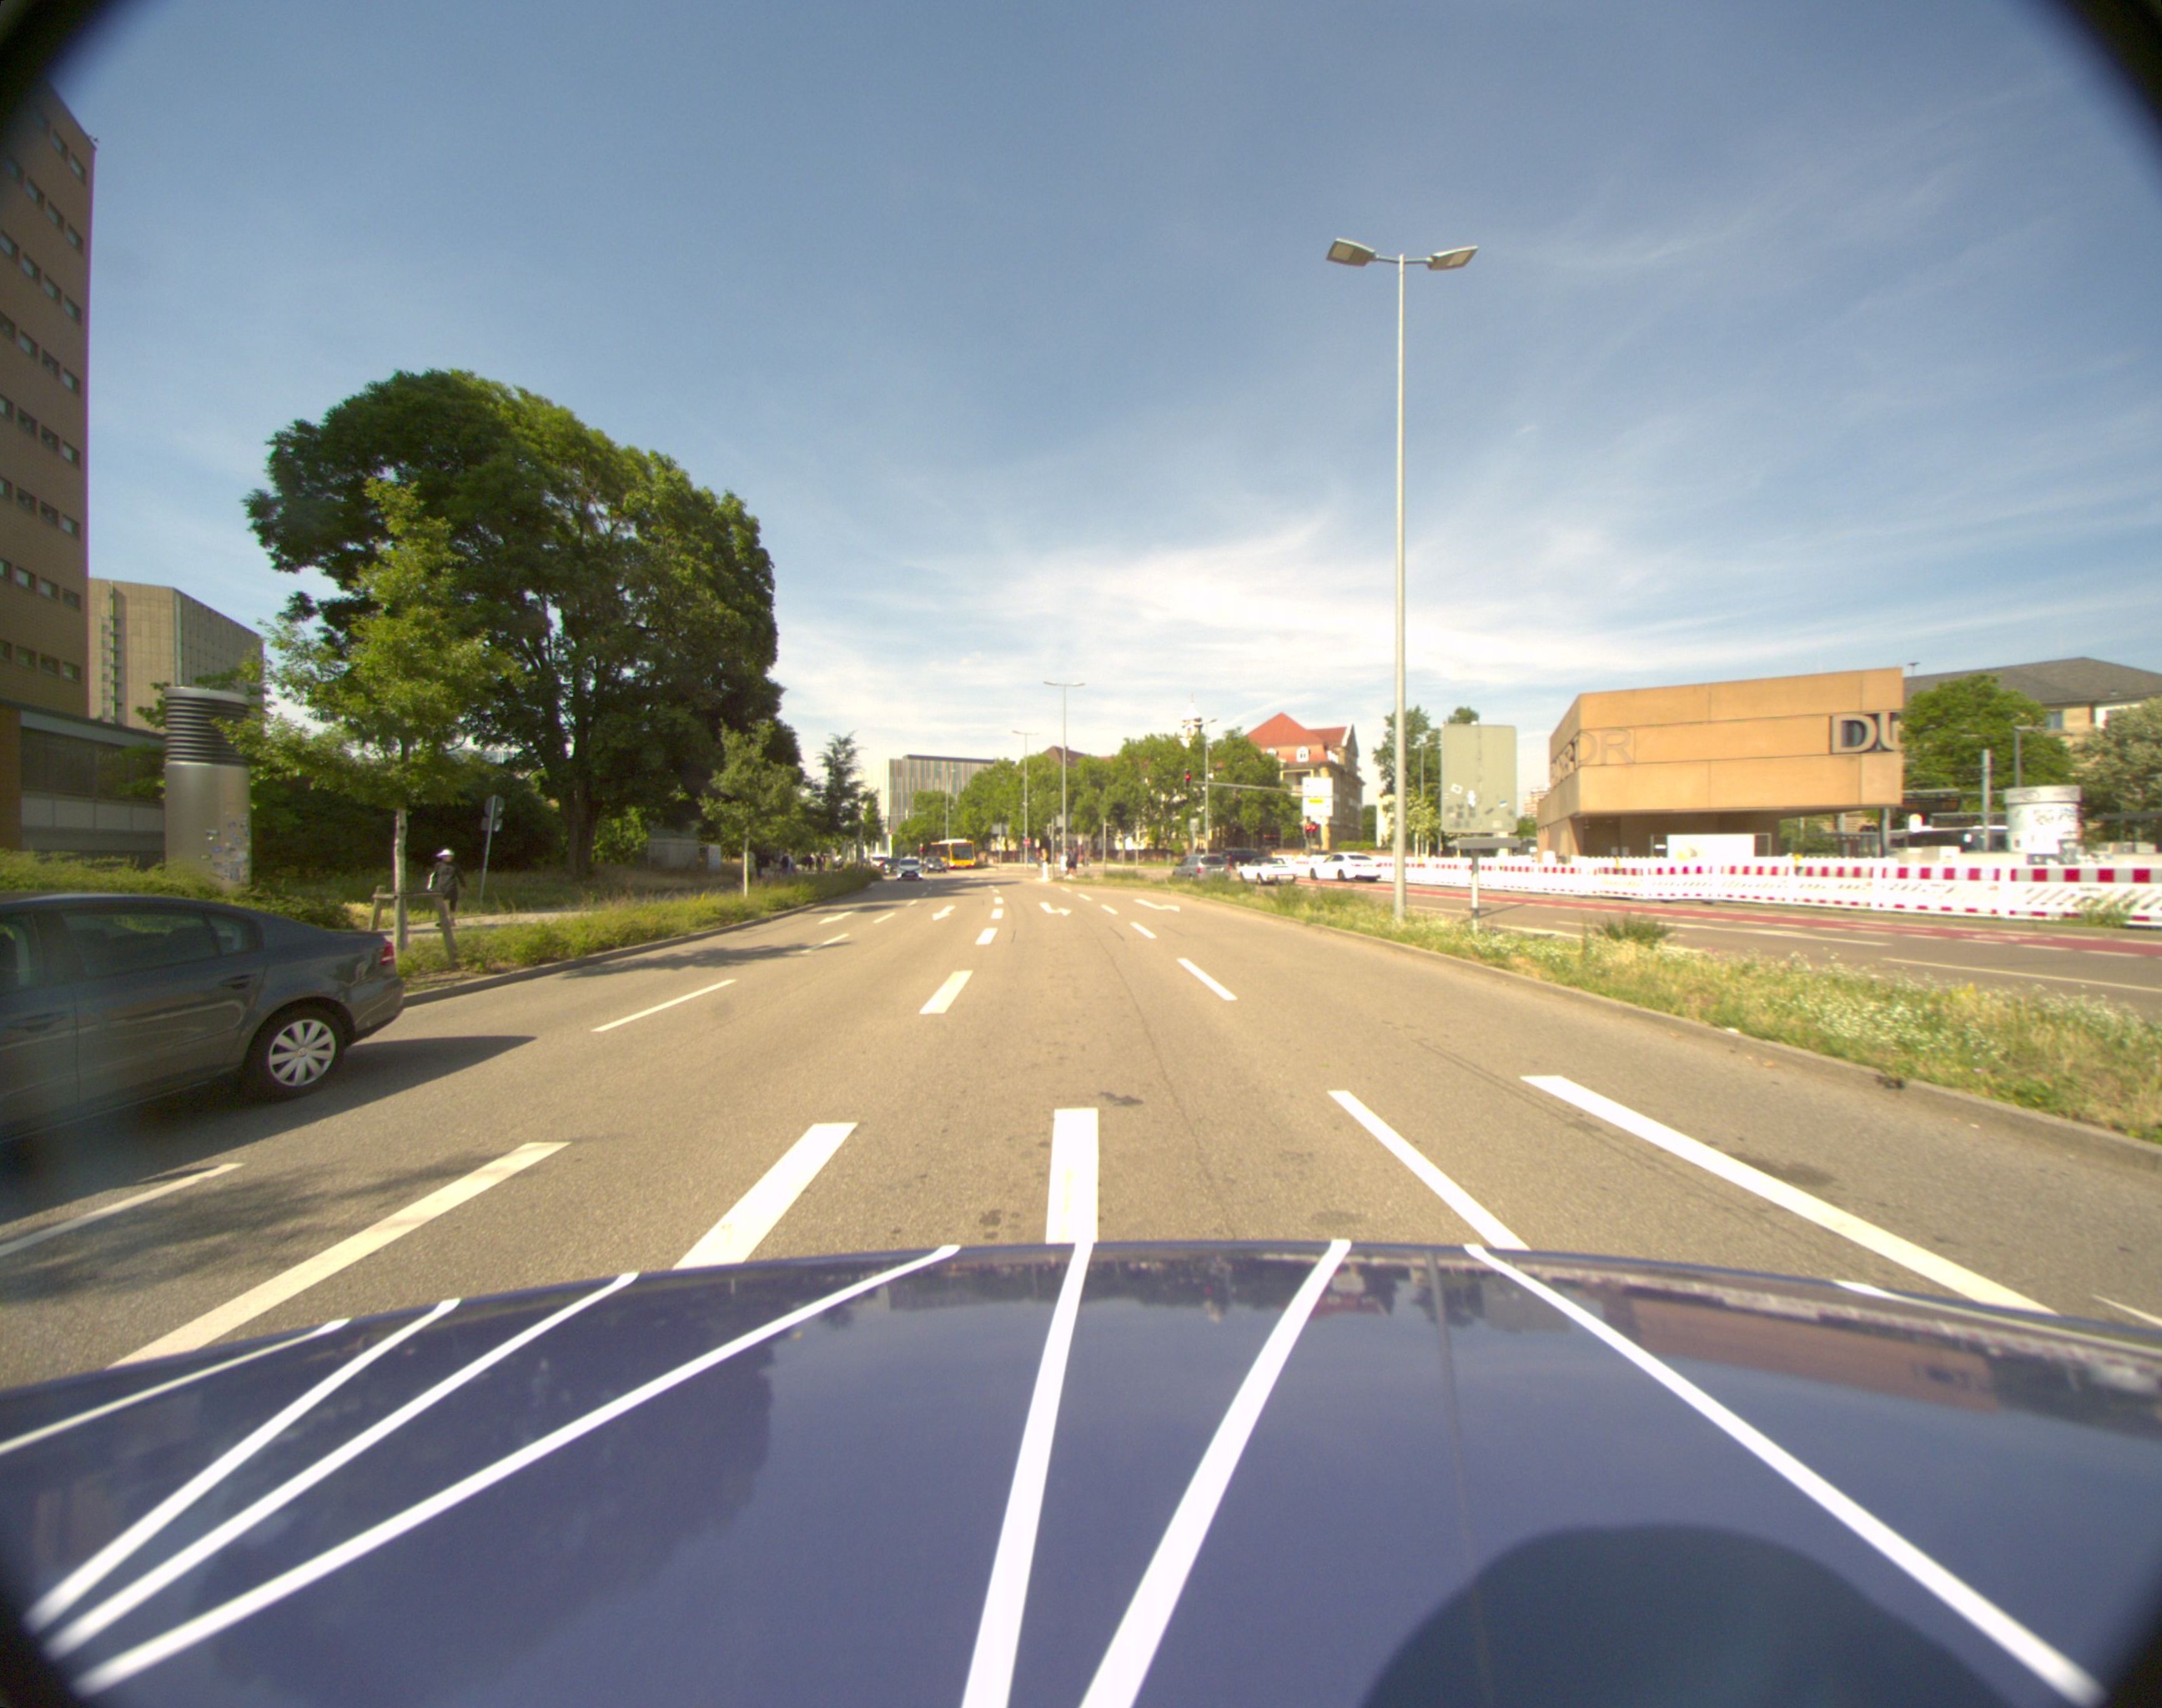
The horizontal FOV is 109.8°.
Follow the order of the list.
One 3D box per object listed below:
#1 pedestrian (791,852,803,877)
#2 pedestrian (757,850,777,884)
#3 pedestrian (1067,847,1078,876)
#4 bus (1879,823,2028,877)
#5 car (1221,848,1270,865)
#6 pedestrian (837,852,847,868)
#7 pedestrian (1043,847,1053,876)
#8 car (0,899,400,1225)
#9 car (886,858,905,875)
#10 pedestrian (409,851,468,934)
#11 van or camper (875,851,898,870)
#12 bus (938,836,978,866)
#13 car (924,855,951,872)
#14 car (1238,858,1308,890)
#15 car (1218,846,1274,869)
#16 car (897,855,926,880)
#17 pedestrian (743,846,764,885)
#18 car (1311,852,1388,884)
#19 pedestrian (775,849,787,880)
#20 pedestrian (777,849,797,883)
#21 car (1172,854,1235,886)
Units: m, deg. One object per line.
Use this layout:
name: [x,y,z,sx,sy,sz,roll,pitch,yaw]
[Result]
pedestrian: [-16.410,0.598,43.928,0.644,1.438,0.568,1,1,-20]
pedestrian: [-15.143,0.635,36.704,0.643,1.617,0.731,1,1,1]
pedestrian: [-0.500,0.444,44.474,0.643,1.664,0.752,0,1,0]
bus: [59.508,-0.241,52.327,2.751,3.303,11.811,0,0,28]
car: [14.964,0.211,69.084,4.118,1.435,1.756,-3,1,-24]
pedestrian: [-16.995,0.433,54.067,0.644,1.125,0.751,1,1,-15]
pedestrian: [-1.896,0.412,44.000,0.541,1.664,0.752,0,1,1]
car: [-6.067,1.102,3.572,1.635,1.427,4.527,-1,1,-1]
car: [-15.559,1.028,63.722,1.411,1.287,3.576,0,0,-16]
pedestrian: [-13.314,0.777,15.752,0.592,1.654,0.731,1,1,1]
van or camper: [-19.961,0.642,77.815,1.732,1.877,4.914,-3,1,-20]
bus: [-13.445,-0.280,82.154,2.799,3.020,12.131,0,0,-17]
car: [-13.074,0.873,69.117,1.653,1.416,4.113,-3,1,-21]
car: [8.766,0.858,35.021,1.600,1.279,3.996,-2,1,-10]
car: [13.529,0.265,62.227,4.117,1.719,1.756,-2,1,-21]
car: [-11.181,0.868,49.932,1.683,1.466,3.755,-2,1,-14]
pedestrian: [-15.819,0.557,36.706,0.643,1.827,0.731,1,1,1]
car: [13.085,0.659,37.277,1.804,1.412,3.996,-2,1,-10]
pedestrian: [-17.218,0.620,43.602,0.644,1.754,0.474,1,1,-20]
pedestrian: [-14.436,0.579,37.306,0.643,1.664,0.752,1,1,1]
car: [5.630,0.706,35.387,1.600,1.279,3.996,-2,1,-10]
